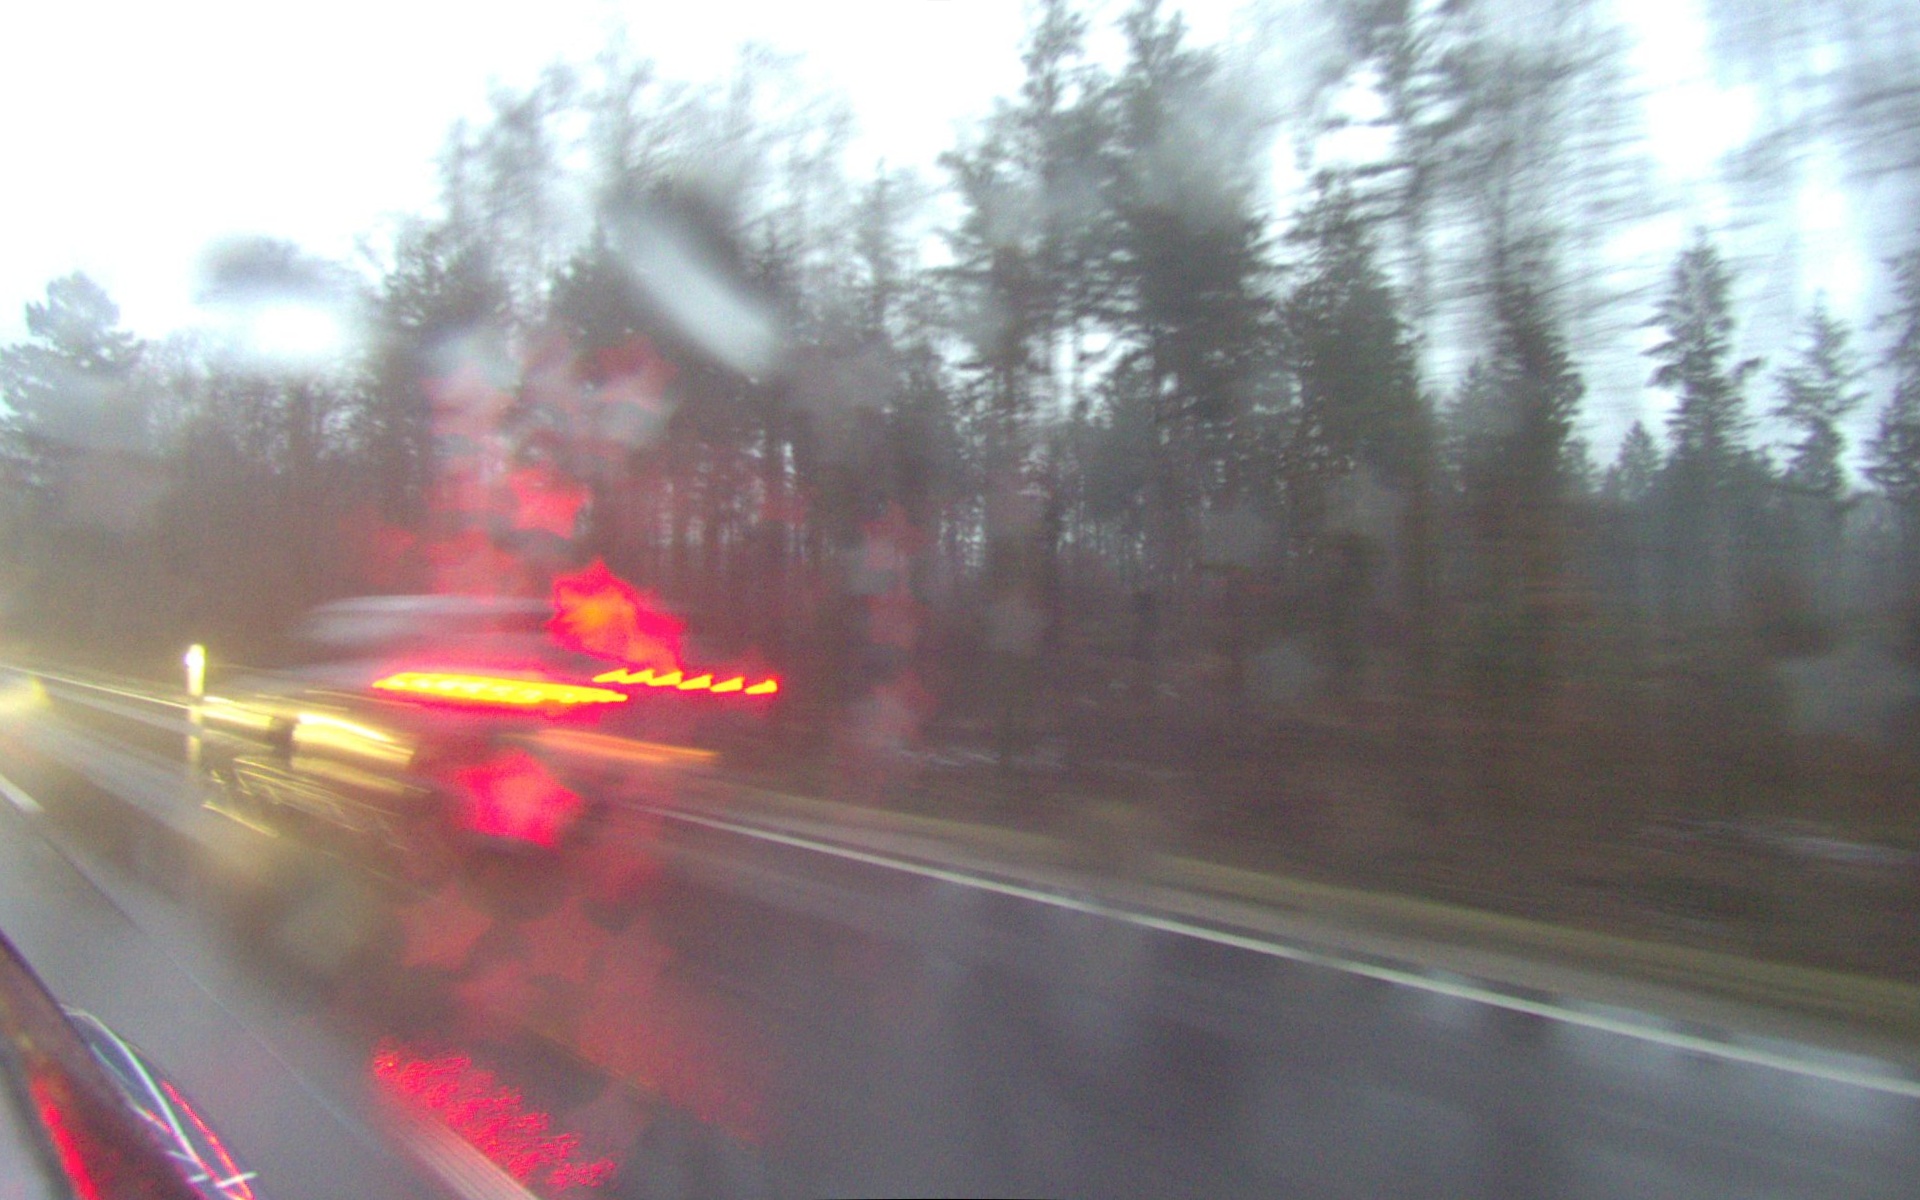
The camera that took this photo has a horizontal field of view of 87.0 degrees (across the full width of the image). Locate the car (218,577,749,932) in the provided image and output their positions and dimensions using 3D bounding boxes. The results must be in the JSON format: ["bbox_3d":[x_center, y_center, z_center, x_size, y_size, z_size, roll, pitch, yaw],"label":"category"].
[{"bbox_3d":[-3.320,0.754,6.690,3.998,1.647,1.723,-1,-2,41],"label":"car"}]
